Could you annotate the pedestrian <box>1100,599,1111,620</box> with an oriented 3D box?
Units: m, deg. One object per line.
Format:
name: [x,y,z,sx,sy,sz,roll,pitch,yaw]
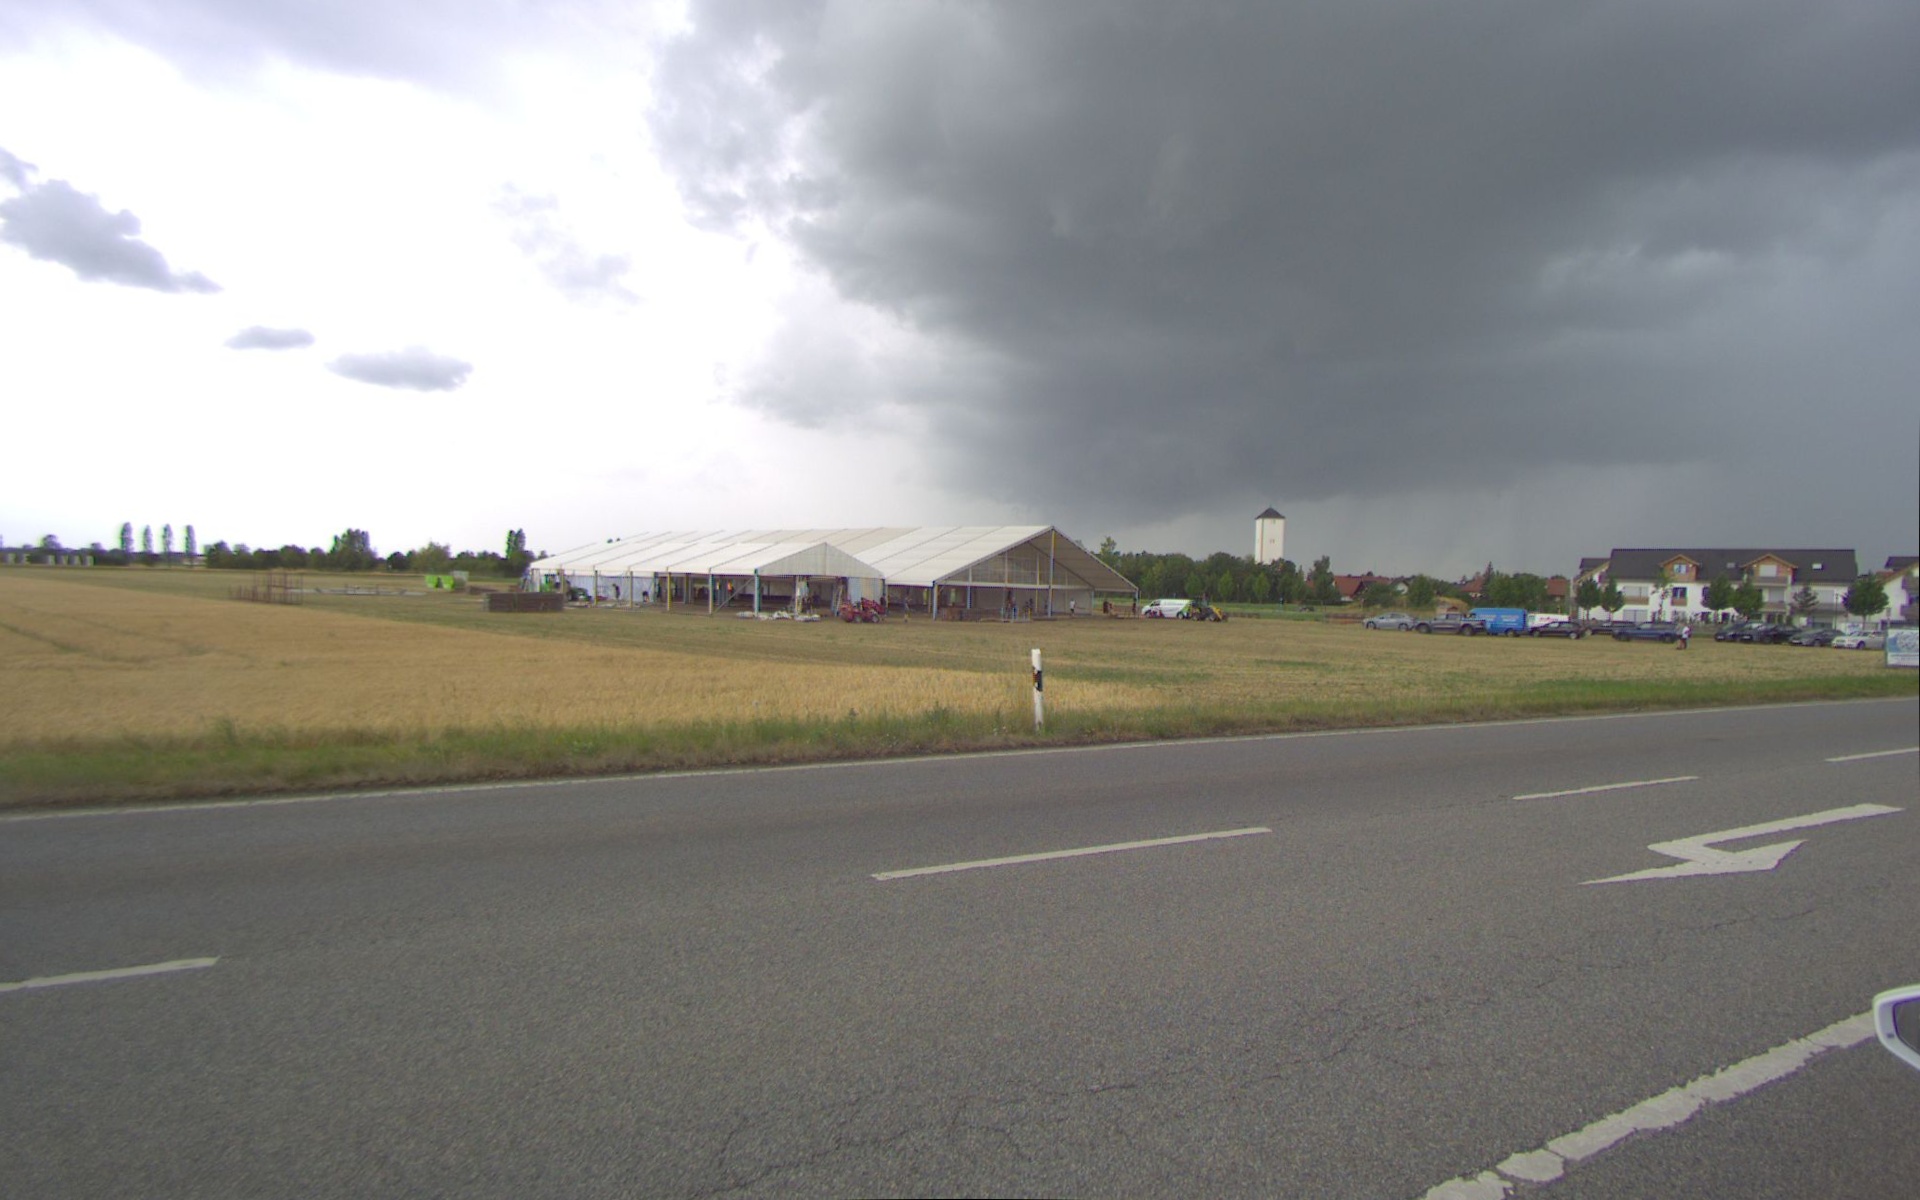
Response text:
pedestrian: [12.900,0.821,88.925,0.680,1.799,0.691,2,1,42]

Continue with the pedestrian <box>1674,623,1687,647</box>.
pedestrian: [46.964,2.280,65.488,0.583,1.576,0.622,2,0,42]

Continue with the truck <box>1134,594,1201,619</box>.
truck: [20.743,0.636,100.500,5.962,2.246,2.713,2,0,34]

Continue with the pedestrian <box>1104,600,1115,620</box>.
pedestrian: [13.673,0.948,91.983,0.680,1.799,0.691,2,1,42]

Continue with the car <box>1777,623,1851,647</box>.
car: [63.390,2.594,74.575,4.137,1.556,1.996,1,0,-11]

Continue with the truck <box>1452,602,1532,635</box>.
truck: [43.372,1.516,81.988,5.380,2.478,2.384,2,0,39]

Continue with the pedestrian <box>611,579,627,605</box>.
pedestrian: [-27.275,-0.618,80.385,1.007,2.040,0.805,2,0,-9]

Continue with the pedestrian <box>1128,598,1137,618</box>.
pedestrian: [16.273,0.770,94.794,0.695,1.890,0.625,2,0,-5]

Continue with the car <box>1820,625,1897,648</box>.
car: [64.343,2.604,71.948,4.137,1.465,1.996,1,0,-11]

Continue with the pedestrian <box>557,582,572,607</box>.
pedestrian: [-33.176,-0.494,84.283,1.010,2.040,0.802,2,1,42]

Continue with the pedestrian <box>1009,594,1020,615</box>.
pedestrian: [4.860,0.413,89.385,0.689,1.799,0.682,1,1,-40]

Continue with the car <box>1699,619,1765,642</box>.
car: [62.532,2.456,81.343,4.137,1.651,1.996,1,0,-11]

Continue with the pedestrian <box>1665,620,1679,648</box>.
pedestrian: [46.175,2.187,65.110,0.673,1.809,0.543,1,0,-41]

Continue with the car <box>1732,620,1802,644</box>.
car: [62.290,2.478,77.571,4.137,1.651,1.996,1,0,-11]

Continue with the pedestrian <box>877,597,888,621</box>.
pedestrian: [-5.357,0.640,69.774,0.577,1.649,0.467,2,0,-30]

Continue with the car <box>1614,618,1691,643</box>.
car: [53.583,2.336,77.749,4.661,1.720,1.990,2,0,41]

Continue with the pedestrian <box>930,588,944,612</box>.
pedestrian: [-2.009,-0.019,88.141,0.869,2.040,0.761,1,0,-34]

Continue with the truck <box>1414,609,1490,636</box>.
truck: [39.409,1.806,80.478,5.156,1.946,2.106,2,0,35]

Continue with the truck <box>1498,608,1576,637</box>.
truck: [49.518,1.902,86.270,5.496,2.226,2.596,2,0,39]

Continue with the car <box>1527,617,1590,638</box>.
car: [48.744,2.231,81.790,4.107,1.539,1.990,2,0,41]

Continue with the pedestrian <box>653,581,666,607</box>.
pedestrian: [-25.115,-0.526,83.914,0.926,2.130,0.864,2,0,-19]

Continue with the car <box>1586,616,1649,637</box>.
car: [59.441,2.407,90.840,4.572,1.720,1.990,2,0,41]

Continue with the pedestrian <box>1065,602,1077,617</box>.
pedestrian: [9.818,0.852,88.701,0.689,1.288,0.682,1,0,-40]

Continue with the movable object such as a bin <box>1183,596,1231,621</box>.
movable object such as a bin: [23.200,0.783,94.381,3.930,2.273,1.880,2,0,34]

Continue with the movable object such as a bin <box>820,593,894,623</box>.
movable object such as a bin: [-6.802,0.542,66.808,2.556,1.889,4.456,2,0,38]

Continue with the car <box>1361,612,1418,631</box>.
car: [37.234,1.825,87.163,4.237,1.481,1.885,2,0,35]

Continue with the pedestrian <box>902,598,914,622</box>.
pedestrian: [-3.588,0.697,68.864,0.538,1.649,0.550,2,0,37]

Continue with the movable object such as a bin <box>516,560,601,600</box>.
movable object such as a bin: [-36.389,-1.829,90.858,7.469,3.219,4.138,3,1,41]
